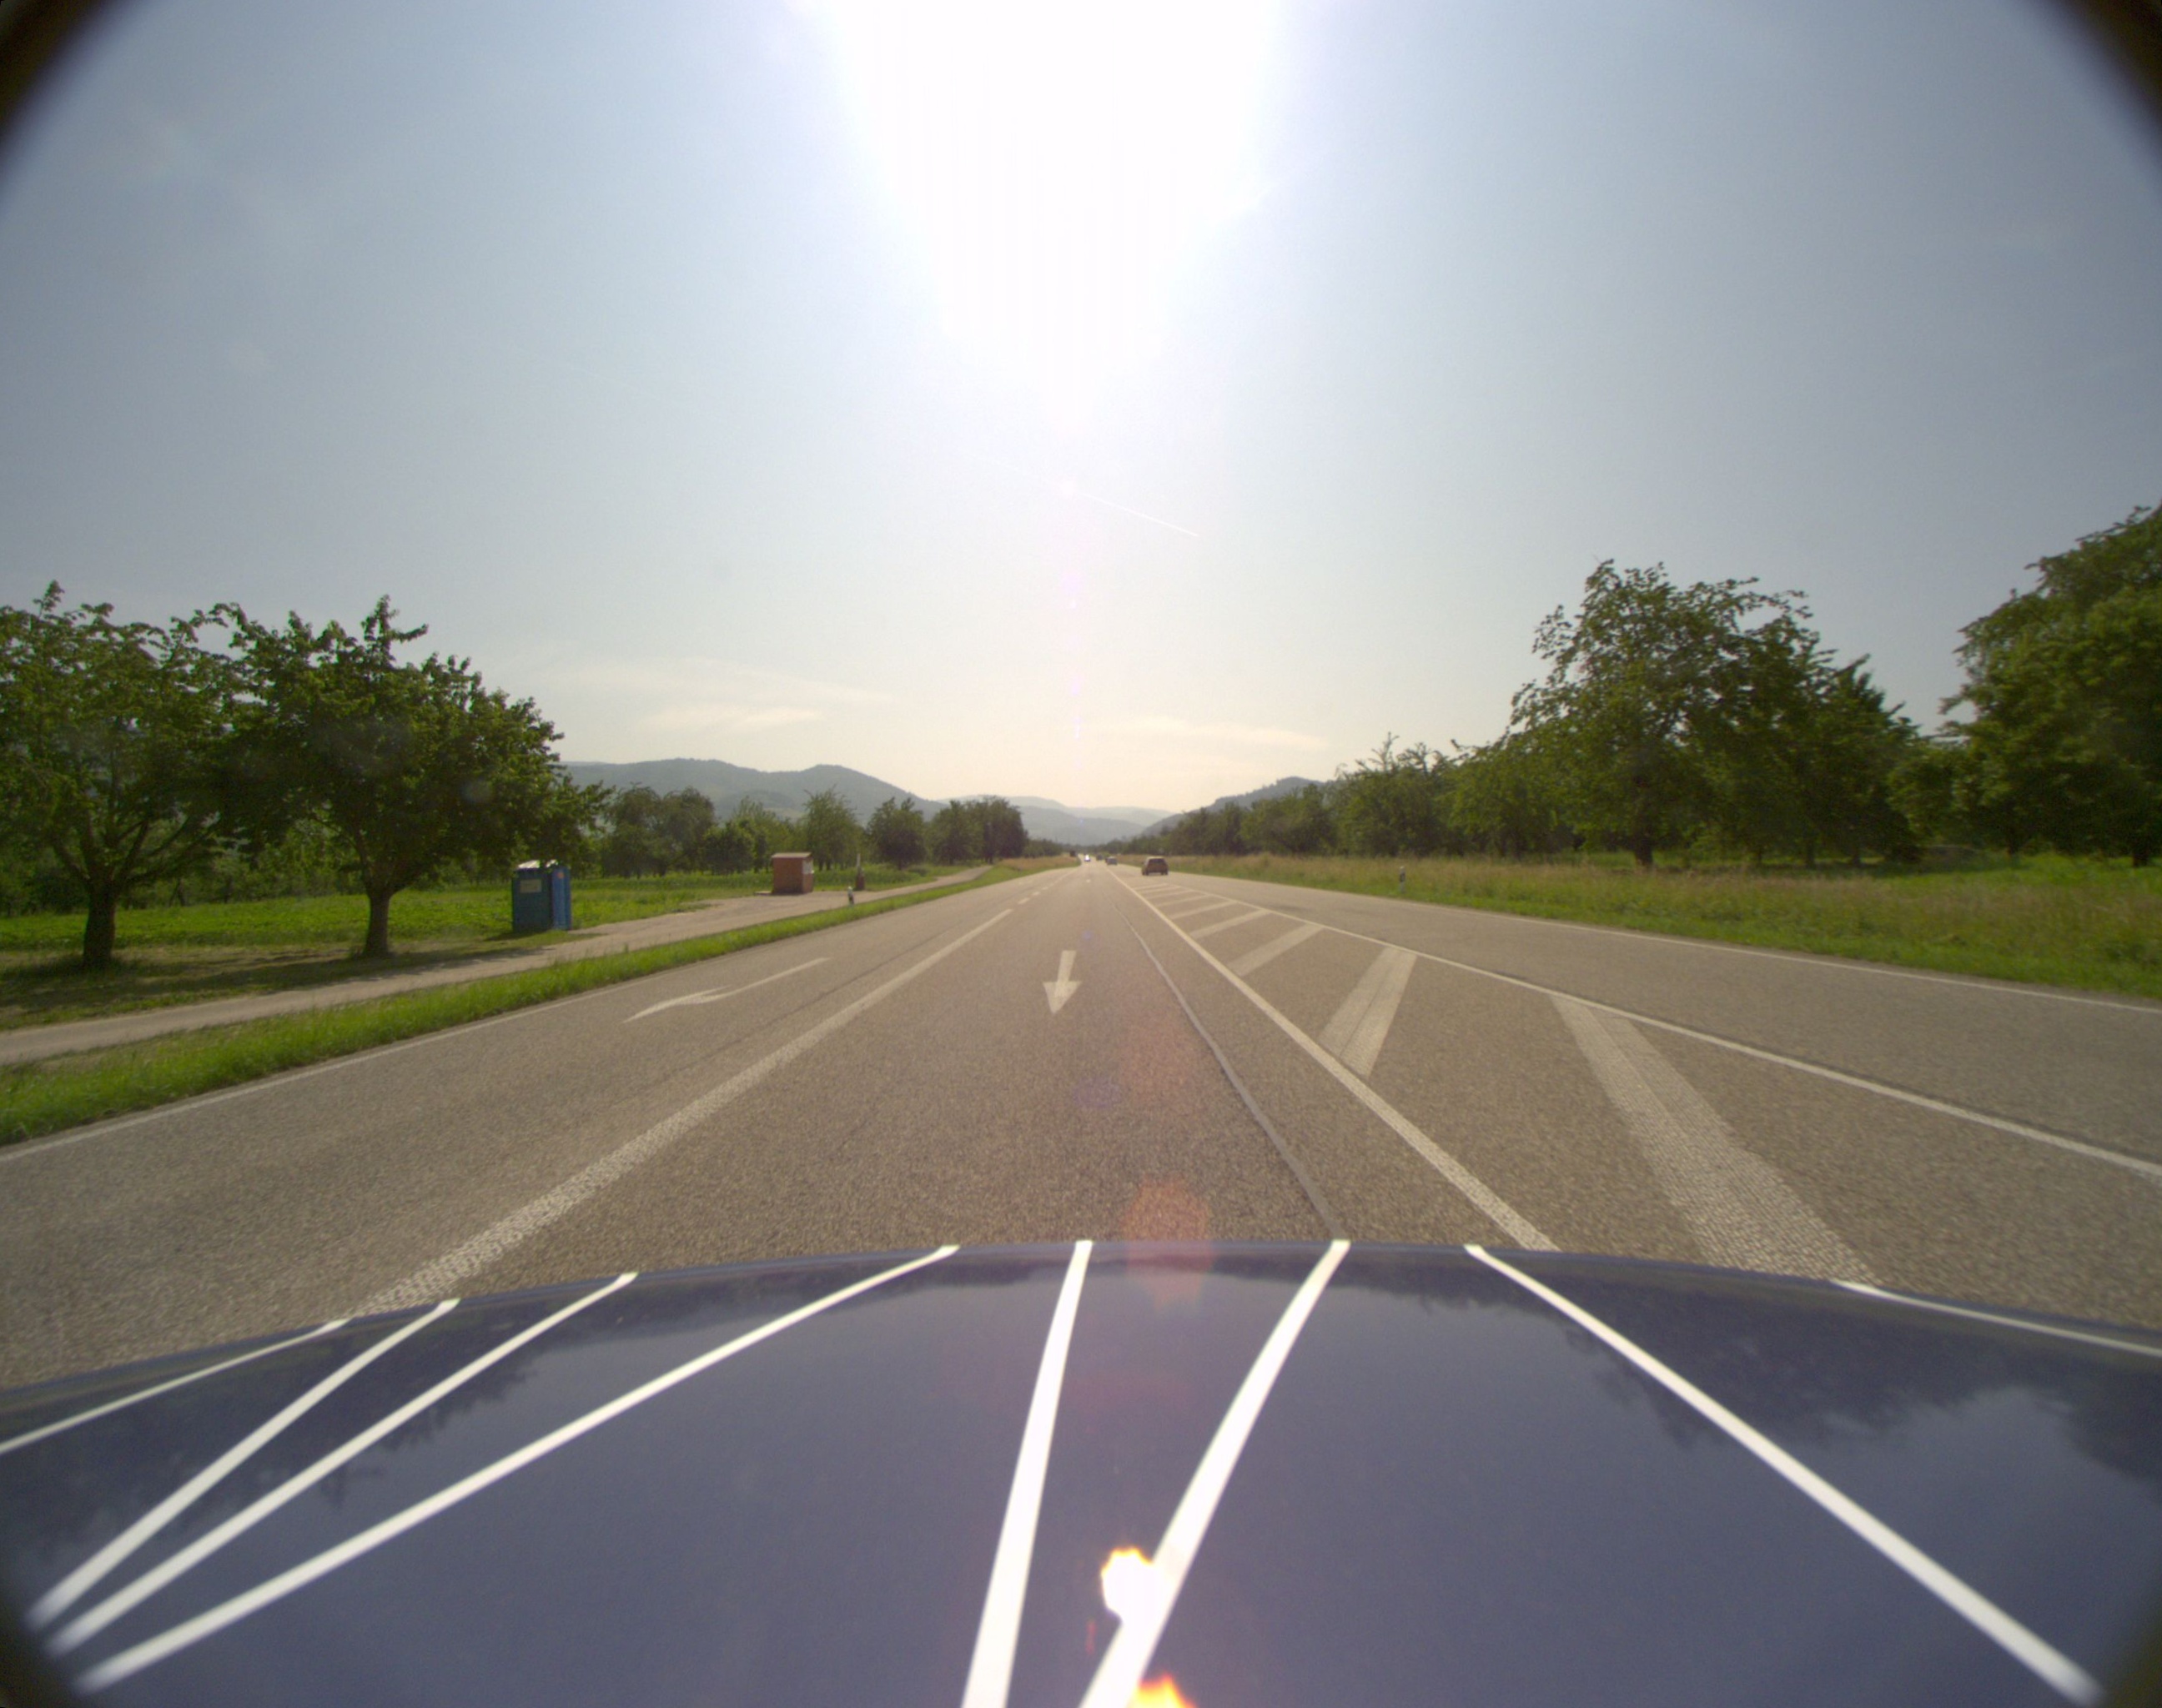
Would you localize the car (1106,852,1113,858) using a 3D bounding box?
[{"bbox_3d":[7.487,0.174,196.554,1.629,1.448,3.621,-2,0,0],"label":"car"}]

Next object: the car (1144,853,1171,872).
[{"bbox_3d":[6.052,0.676,60.631,1.702,1.408,3.824,-1,0,-1],"label":"car"}]

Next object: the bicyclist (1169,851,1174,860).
[{"bbox_3d":[16.395,0.263,137.729,0.742,1.446,0.863,-2,2,2],"label":"bicyclist"}]

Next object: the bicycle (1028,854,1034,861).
[{"bbox_3d":[-8.953,0.621,135.934,0.751,1.410,2.221,0,0,2],"label":"bicycle"}]

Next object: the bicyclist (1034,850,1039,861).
[{"bbox_3d":[-7.920,0.260,135.864,0.751,1.856,0.869,0,1,2],"label":"bicyclist"}]

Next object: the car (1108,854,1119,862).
[{"bbox_3d":[6.081,0.728,142.298,1.679,1.485,4.137,-2,0,0],"label":"car"}]

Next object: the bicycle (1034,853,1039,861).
[{"bbox_3d":[-7.914,0.595,135.887,0.751,1.410,2.221,0,0,2],"label":"bicycle"}]

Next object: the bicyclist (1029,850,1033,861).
[{"bbox_3d":[-8.953,0.244,135.921,0.751,1.918,0.828,0,1,2],"label":"bicyclist"}]
